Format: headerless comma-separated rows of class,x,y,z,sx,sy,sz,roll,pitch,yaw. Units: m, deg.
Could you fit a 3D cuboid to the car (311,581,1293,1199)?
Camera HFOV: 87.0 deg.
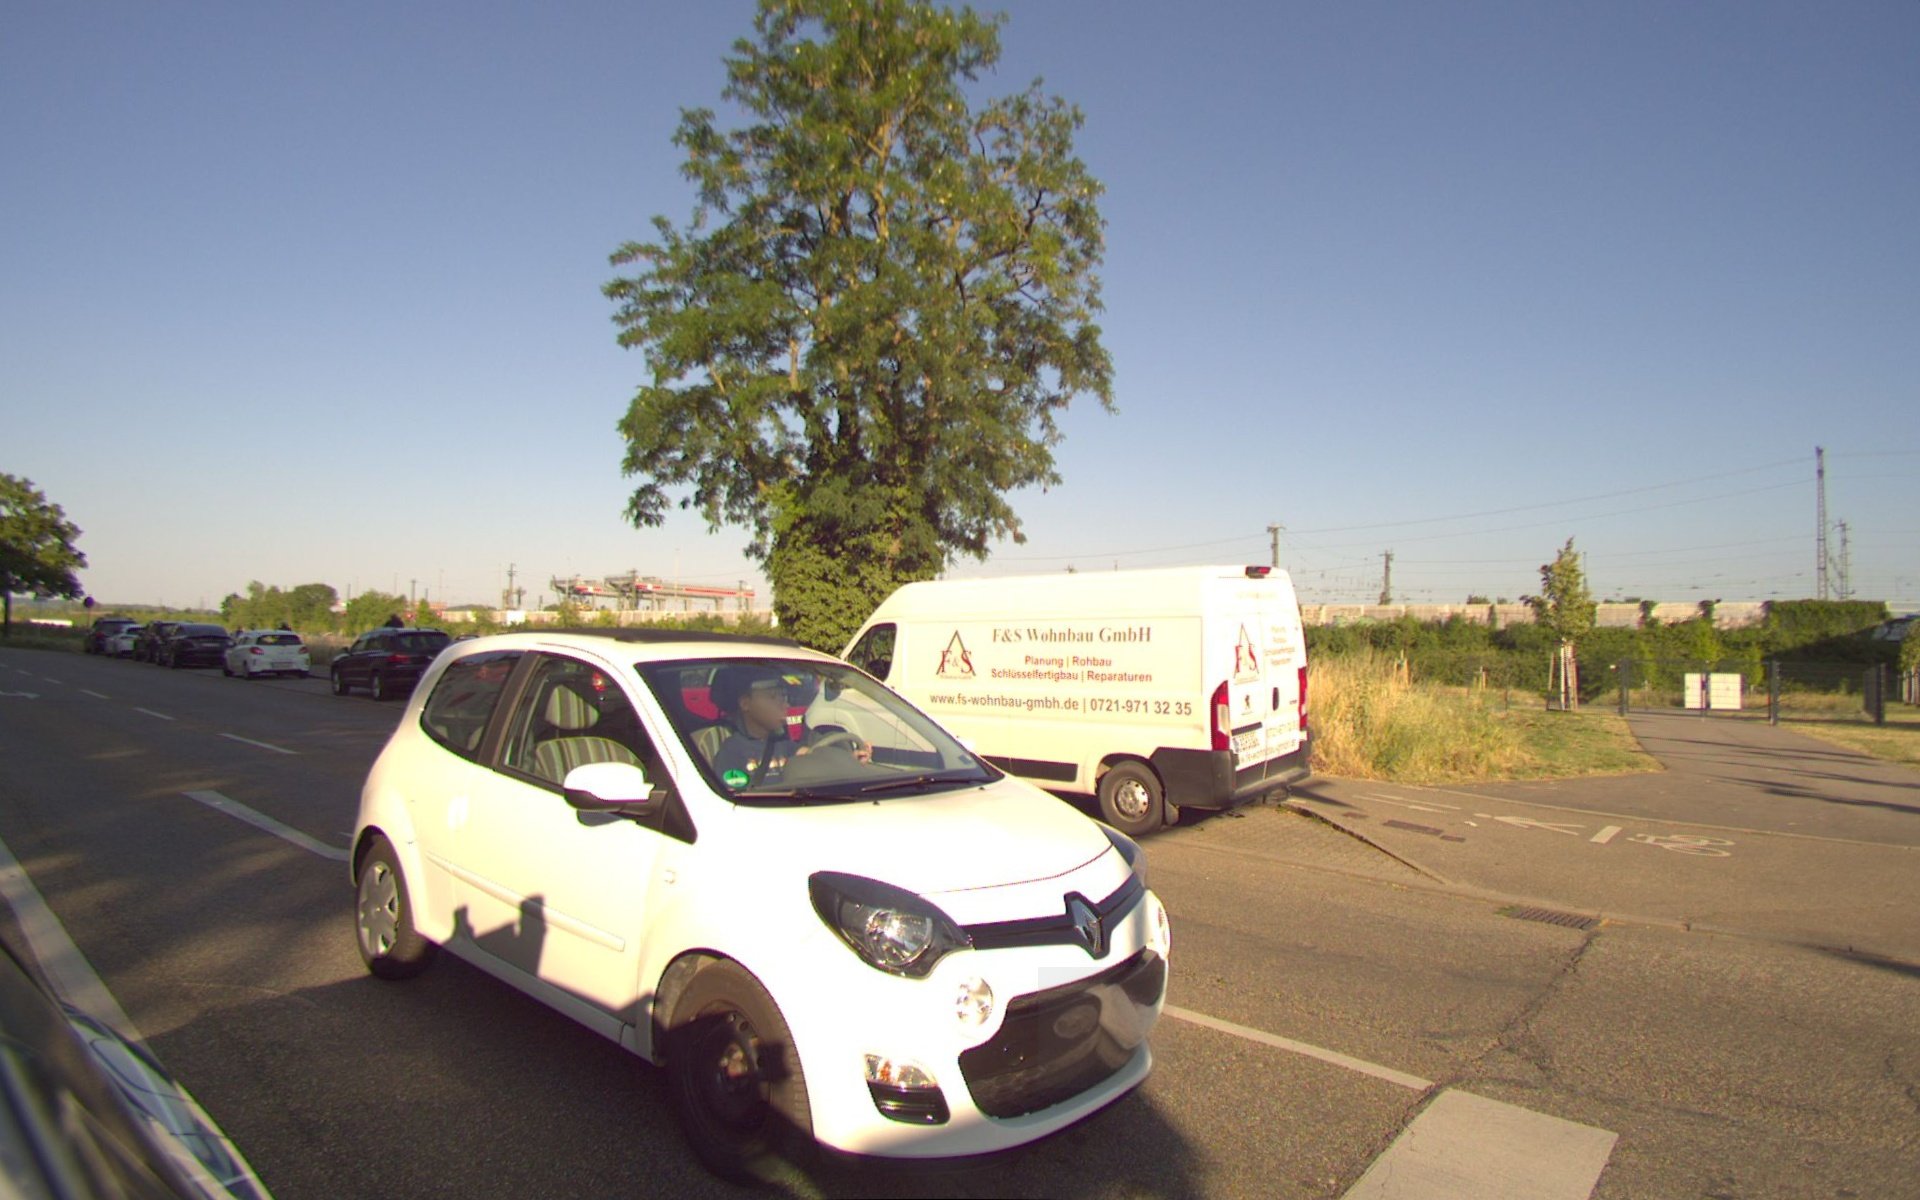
car,-0.870,0.773,3.937,3.772,1.480,1.683,-1,-4,40

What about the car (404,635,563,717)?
car,-10.015,1.546,21.192,3.577,1.541,1.642,-1,-4,40

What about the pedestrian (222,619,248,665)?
pedestrian,-32.201,1.859,44.950,0.710,2.029,0.697,-1,-4,42

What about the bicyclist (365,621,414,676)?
bicyclist,-16.989,1.434,30.135,1.145,1.609,0.855,-1,-4,41

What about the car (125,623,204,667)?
car,-32.382,1.811,41.146,4.219,1.650,1.799,-1,-4,43

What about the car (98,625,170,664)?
car,-36.469,1.951,44.656,4.219,1.586,1.799,-1,-4,43

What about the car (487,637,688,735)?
car,-6.799,1.495,18.313,3.814,1.541,1.723,-1,-4,40

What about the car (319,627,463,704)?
car,-13.597,1.525,24.111,4.003,1.672,1.642,-1,-4,40

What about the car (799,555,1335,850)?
car,0.928,0.894,11.077,5.556,2.455,2.207,-1,-1,40

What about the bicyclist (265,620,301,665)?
bicyclist,-24.541,1.542,36.705,1.146,1.609,0.758,-1,-4,43

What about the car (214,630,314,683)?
car,-21.558,1.730,31.288,3.582,1.538,1.684,-1,-4,42

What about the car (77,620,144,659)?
car,-40.839,1.894,48.604,4.219,1.789,1.866,-1,-4,43

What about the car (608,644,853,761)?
car,-3.549,1.474,15.391,3.692,1.498,1.723,-1,-4,40

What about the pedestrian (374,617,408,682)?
pedestrian,-17.839,1.552,31.749,0.729,2.029,0.608,-1,-4,39

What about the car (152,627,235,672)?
car,-28.233,1.814,37.224,1.798,1.538,4.292,5,-4,-45
